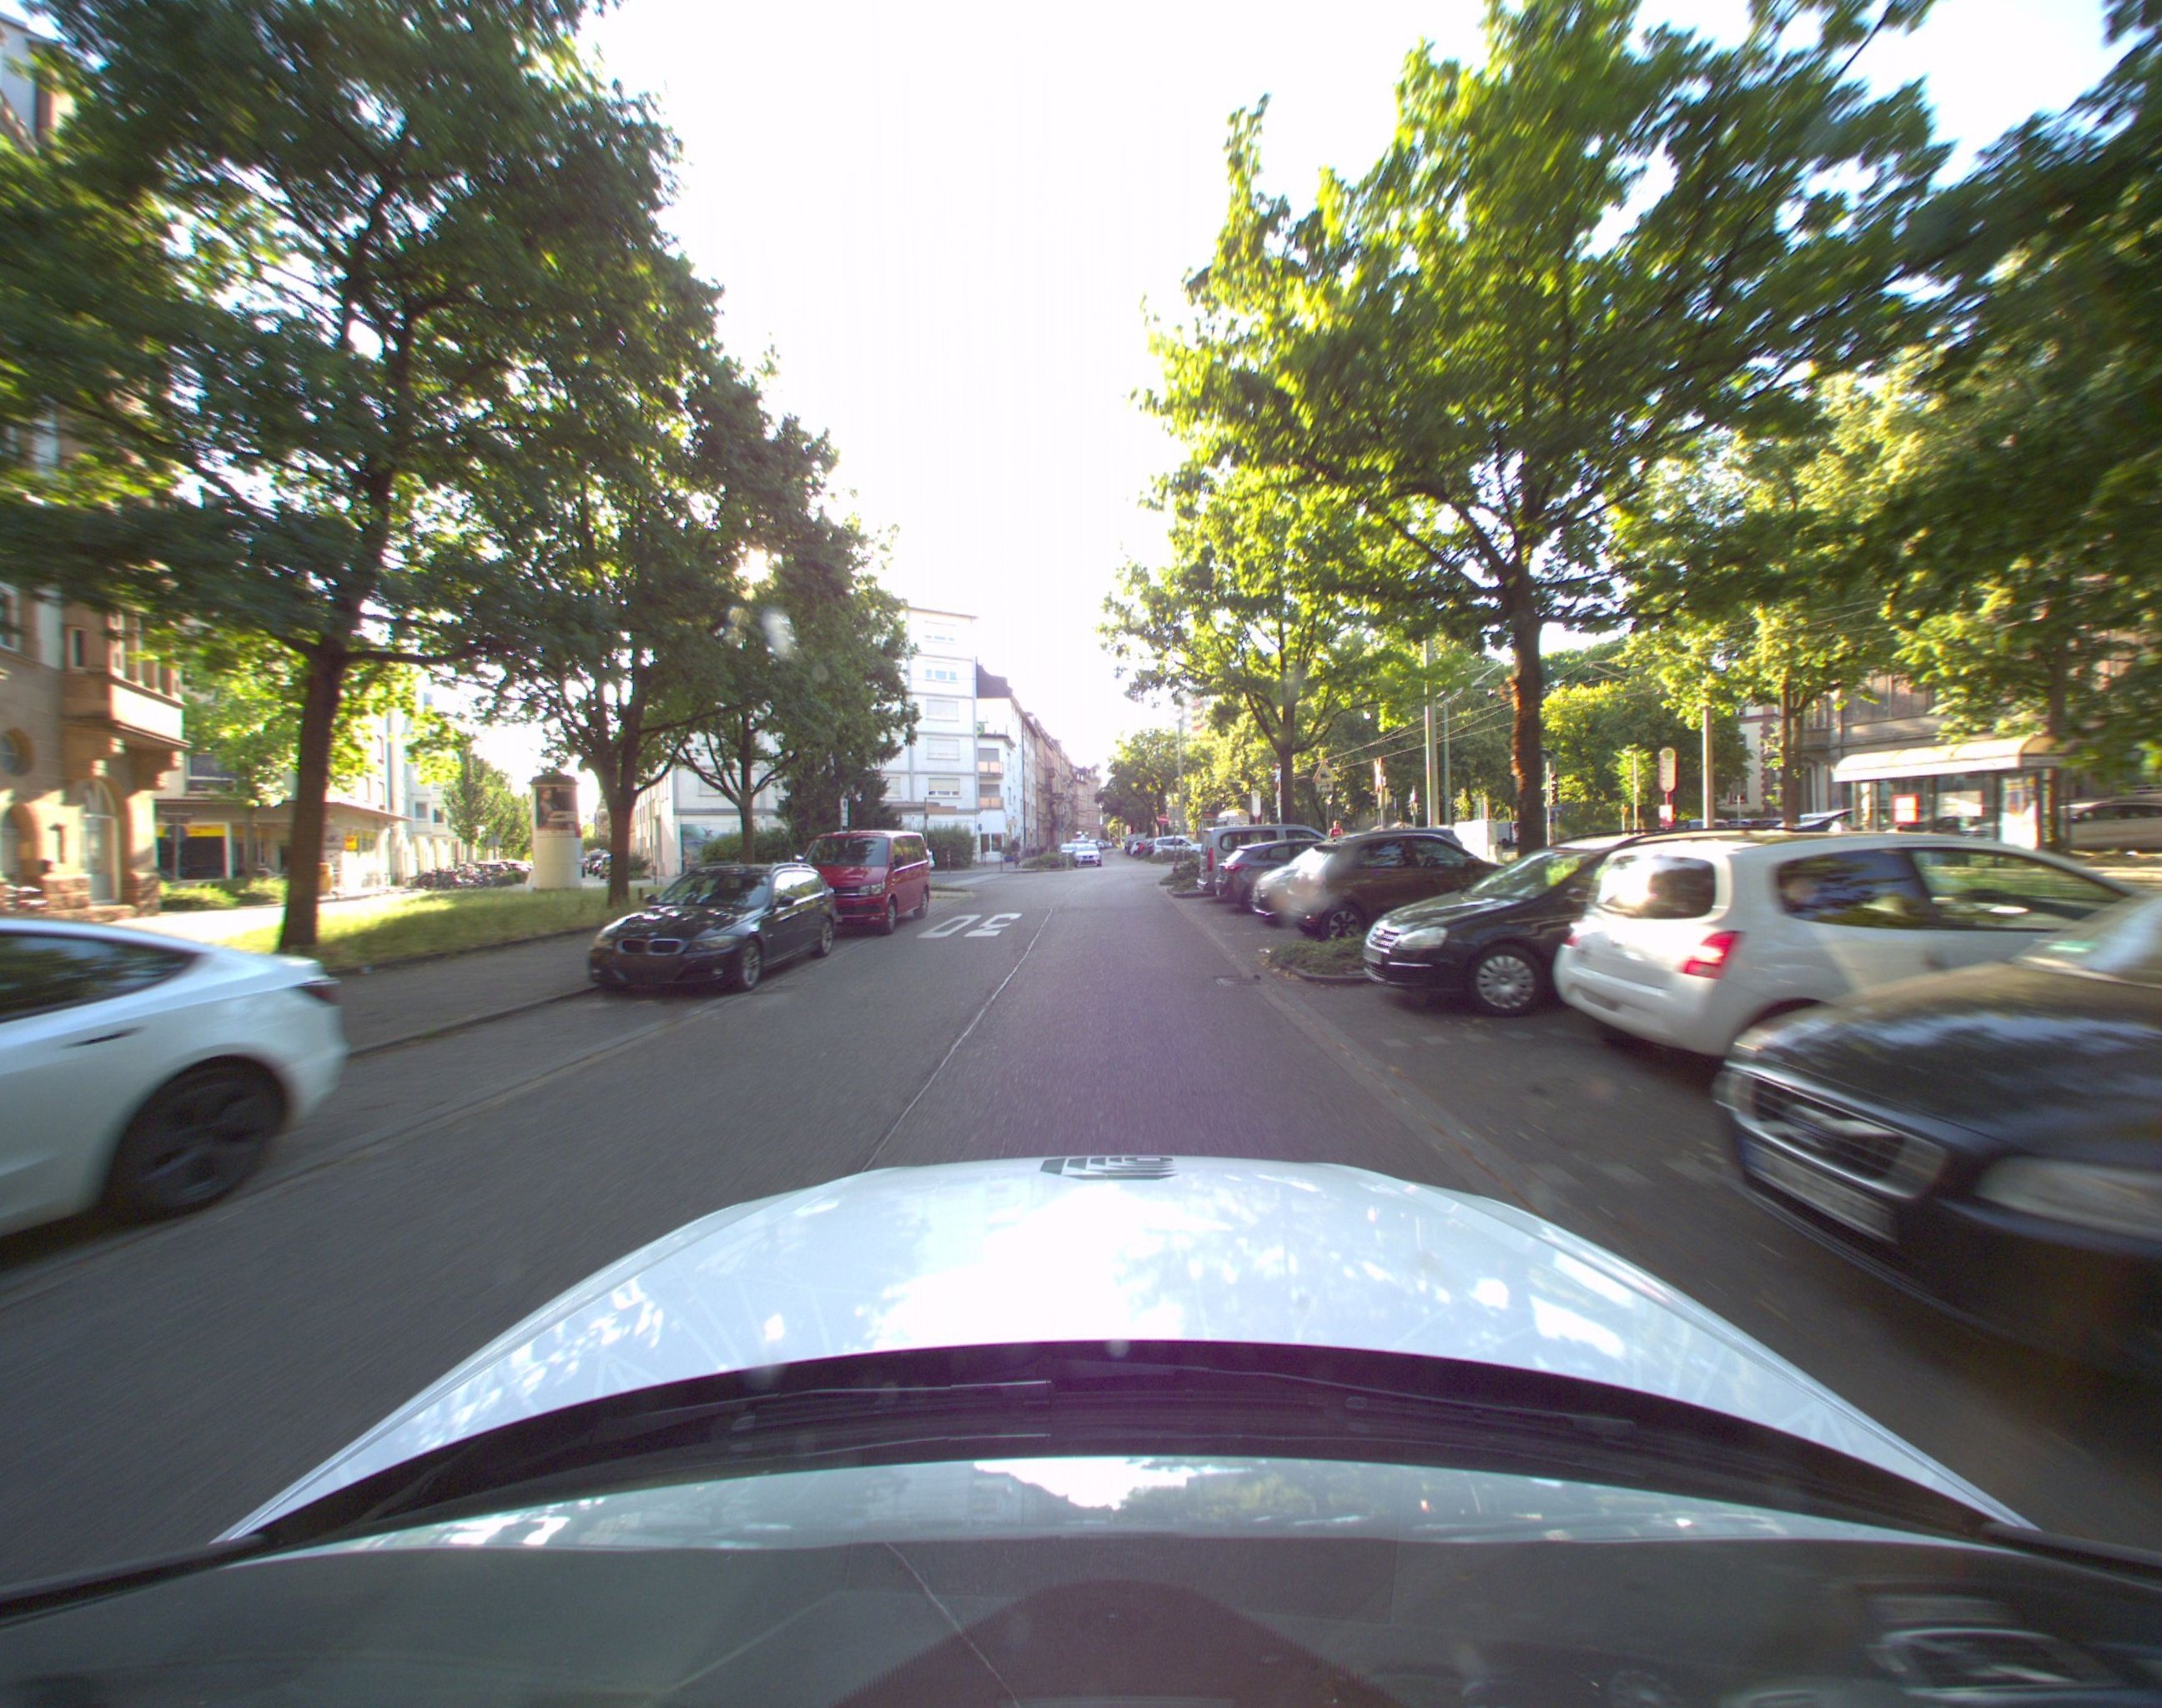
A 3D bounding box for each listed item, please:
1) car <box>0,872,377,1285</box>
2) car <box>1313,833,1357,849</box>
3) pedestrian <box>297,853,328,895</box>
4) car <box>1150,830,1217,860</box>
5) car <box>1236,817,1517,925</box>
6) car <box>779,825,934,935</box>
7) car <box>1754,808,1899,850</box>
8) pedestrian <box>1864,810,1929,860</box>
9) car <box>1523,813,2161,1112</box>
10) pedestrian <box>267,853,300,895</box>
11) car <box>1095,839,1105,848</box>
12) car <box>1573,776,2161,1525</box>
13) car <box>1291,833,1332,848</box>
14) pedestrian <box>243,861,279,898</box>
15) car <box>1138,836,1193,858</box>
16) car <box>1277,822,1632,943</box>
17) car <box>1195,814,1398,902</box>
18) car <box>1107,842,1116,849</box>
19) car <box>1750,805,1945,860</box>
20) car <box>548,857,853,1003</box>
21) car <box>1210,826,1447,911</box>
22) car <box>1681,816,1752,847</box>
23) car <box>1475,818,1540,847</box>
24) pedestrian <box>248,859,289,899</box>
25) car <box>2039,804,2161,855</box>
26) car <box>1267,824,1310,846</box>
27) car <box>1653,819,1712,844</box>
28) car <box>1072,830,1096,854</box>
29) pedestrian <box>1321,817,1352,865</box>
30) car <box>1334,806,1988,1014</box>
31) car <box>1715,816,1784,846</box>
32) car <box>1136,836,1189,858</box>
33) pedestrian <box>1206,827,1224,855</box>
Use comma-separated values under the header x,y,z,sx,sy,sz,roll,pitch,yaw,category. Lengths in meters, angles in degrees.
x,y,z,sx,sy,sz,roll,pitch,yaw,category
-4.966,0.885,2.476,1.769,1.475,4.274,0,1,3,car
23.489,-1.195,75.336,3.784,1.391,1.747,1,0,21,car
-35.995,0.921,38.151,0.855,1.874,0.882,-2,1,-33,pedestrian
7.119,-0.625,56.767,4.186,1.652,1.618,-6,0,33,car
5.281,0.279,14.951,4.427,1.691,1.947,-2,0,-4,car
-4.365,0.411,16.655,1.770,1.933,4.774,0,1,1,car
31.563,-1.036,34.689,1.866,1.649,4.489,1,1,-6,car
21.512,-0.491,21.505,0.821,1.272,0.875,-2,0,-6,pedestrian
4.964,0.562,5.164,3.383,1.514,1.721,-2,1,3,car
-36.740,0.927,37.531,0.855,1.874,0.882,-2,1,-33,pedestrian
4.102,-2.375,177.529,1.702,1.820,4.008,-3,1,6,car
4.533,0.547,2.586,4.680,1.572,2.002,-2,0,3,car
23.131,-1.305,81.708,3.784,1.421,1.747,1,0,21,car
-36.498,1.117,36.269,0.894,1.569,0.954,-2,1,-31,pedestrian
7.127,-0.598,68.956,4.188,1.458,1.617,-6,0,26,car
5.464,0.411,12.455,4.518,1.572,1.952,-2,0,3,car
5.175,0.091,20.091,4.518,1.914,1.952,-2,0,3,car
7.456,-2.018,197.750,1.700,1.445,4.012,-3,1,10,car
25.057,-0.681,26.829,4.368,1.687,1.751,0,1,20,car
-4.637,0.814,10.752,1.768,1.433,4.276,0,1,4,car
5.141,0.301,17.472,4.518,1.572,1.952,-2,0,3,car
36.373,-1.301,46.583,4.202,1.656,1.903,-2,4,-33,car
31.102,-1.533,59.533,1.942,2.003,4.649,-2,1,-6,car
-35.447,1.080,35.562,0.967,1.666,1.203,-2,1,-32,pedestrian
32.408,-0.732,24.665,1.734,1.489,4.157,1,1,-5,car
23.897,-2.187,93.718,4.442,2.476,1.831,1,0,32,car
41.808,-1.619,56.582,4.307,1.614,1.814,-2,4,-32,car
0.397,-1.617,106.582,2.541,2.887,5.489,-3,1,4,car
10.581,-0.551,33.739,0.899,1.918,1.151,-2,1,2,pedestrian
5.039,0.475,7.711,4.680,1.572,2.002,-2,0,3,car
40.523,-1.432,49.349,4.560,1.723,1.814,-2,4,-32,car
7.172,-0.600,71.461,4.188,1.458,1.617,-6,0,26,car
9.431,-0.917,57.296,0.840,1.910,0.843,-2,1,35,pedestrian
